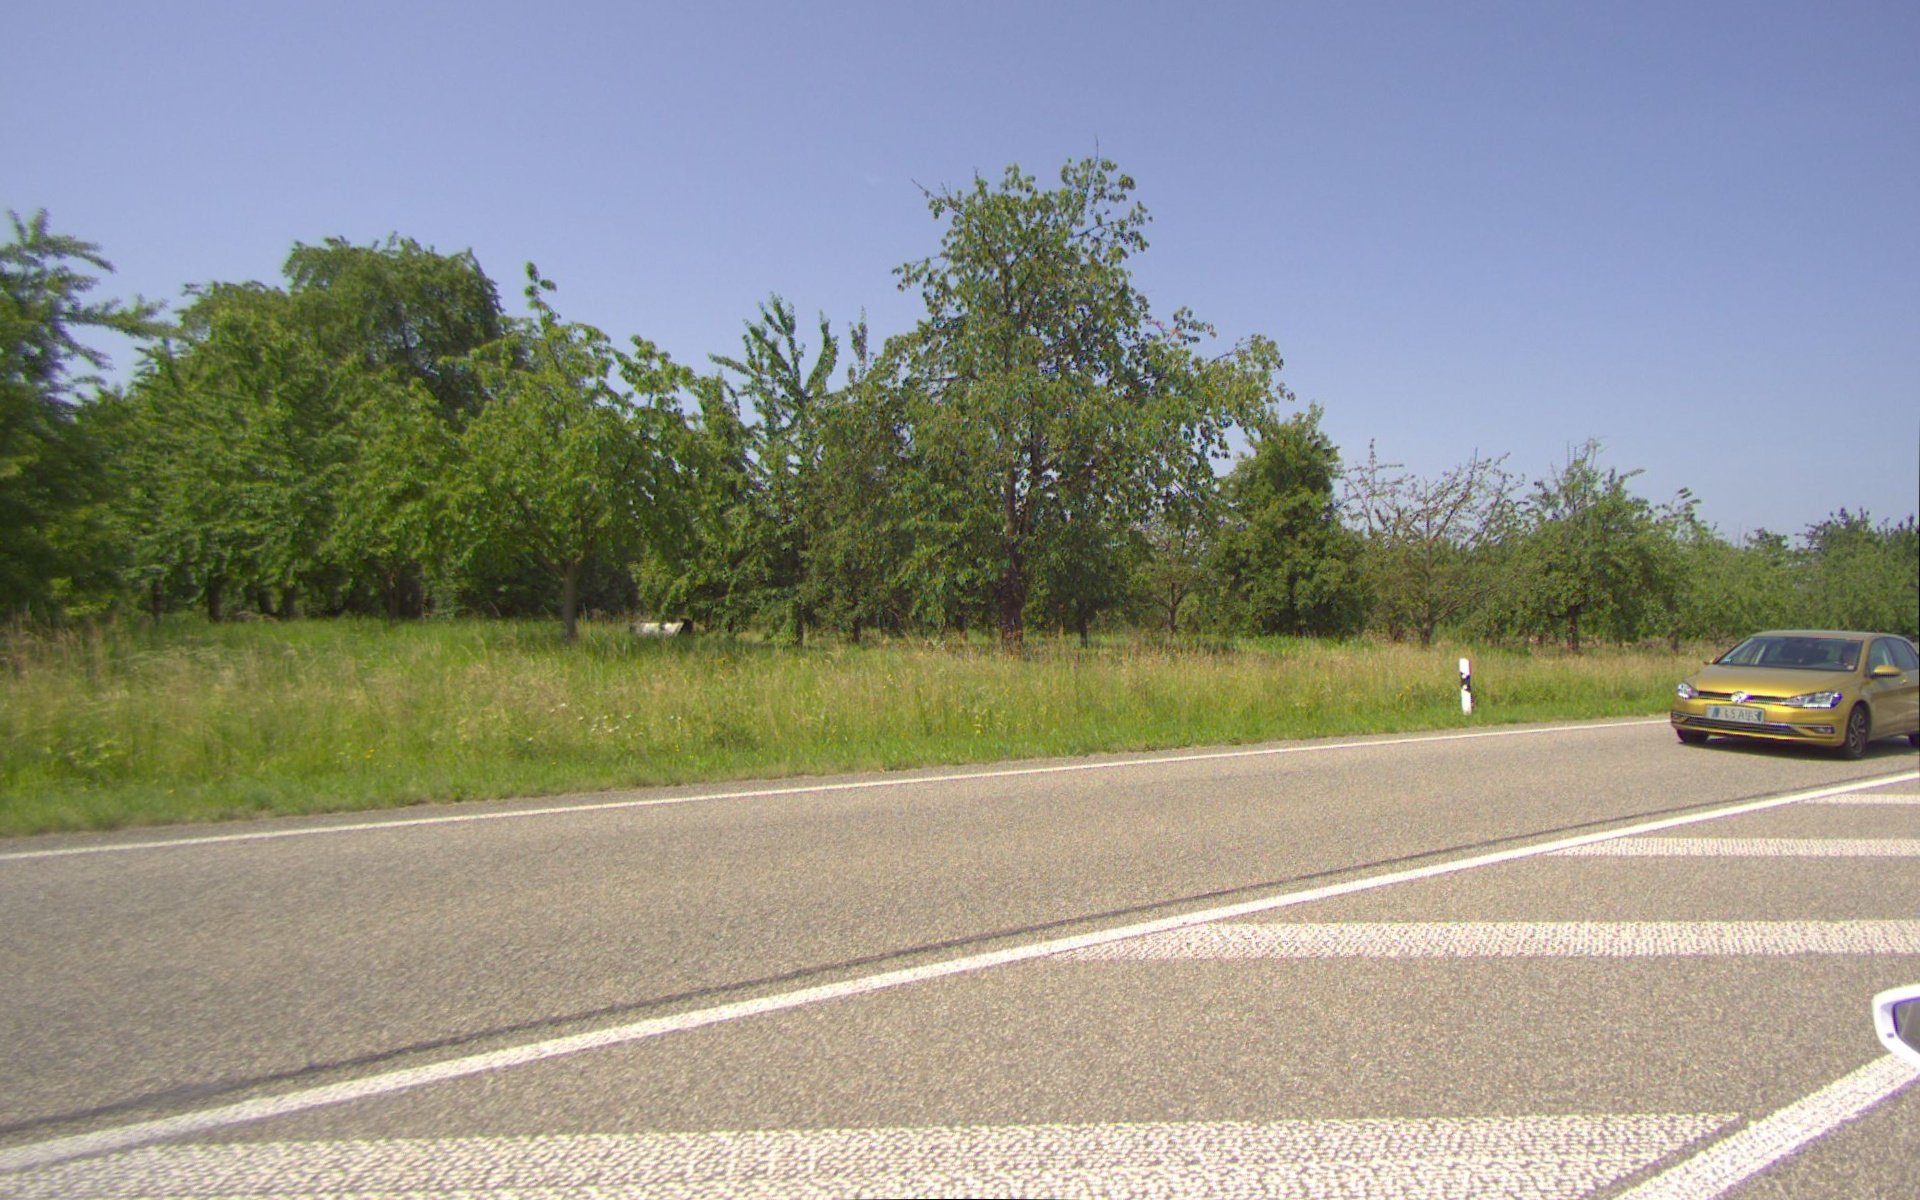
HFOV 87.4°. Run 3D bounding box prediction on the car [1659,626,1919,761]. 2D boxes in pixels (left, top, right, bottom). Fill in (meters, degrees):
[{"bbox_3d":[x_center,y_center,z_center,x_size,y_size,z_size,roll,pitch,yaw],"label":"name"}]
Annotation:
[{"bbox_3d":[10.653,1.080,12.614,3.781,1.435,1.689,1,-1,-31],"label":"car"}]
